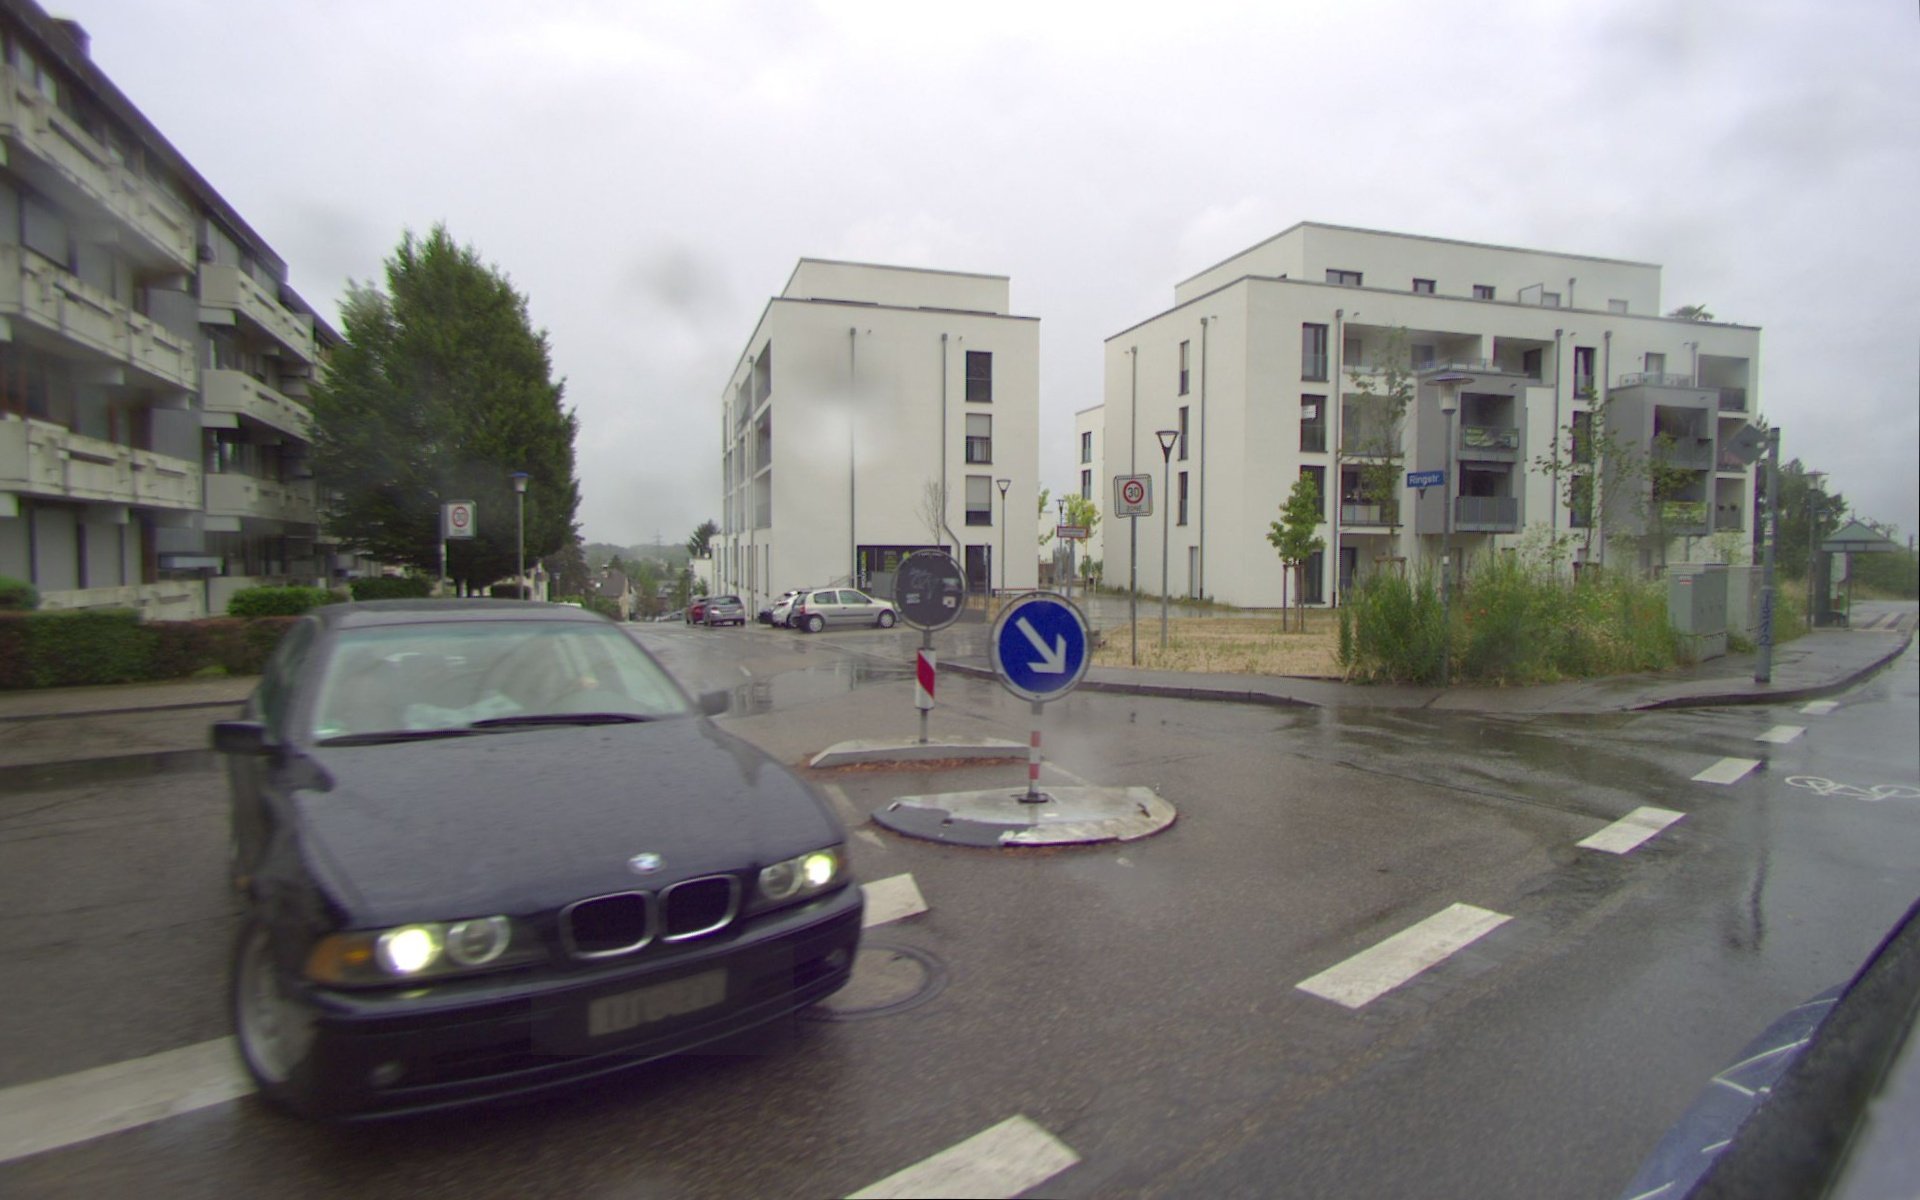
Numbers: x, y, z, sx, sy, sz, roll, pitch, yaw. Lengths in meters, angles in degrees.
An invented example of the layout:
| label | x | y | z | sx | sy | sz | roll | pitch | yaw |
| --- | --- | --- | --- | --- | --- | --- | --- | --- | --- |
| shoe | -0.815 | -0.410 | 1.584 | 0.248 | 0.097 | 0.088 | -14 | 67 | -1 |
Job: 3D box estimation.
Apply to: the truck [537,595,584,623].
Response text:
| label | x | y | z | sx | sy | sz | roll | pitch | yaw |
| --- | --- | --- | --- | --- | --- | --- | --- | --- | --- |
| truck | -44.999 | 0.964 | 113.992 | 4.737 | 3.070 | 2.004 | 1 | 1 | -16 |

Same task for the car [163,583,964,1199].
| label | x | y | z | sx | sy | sz | roll | pitch | yaw |
| --- | --- | --- | --- | --- | --- | --- | --- | --- | --- |
| car | -2.051 | 0.647 | 4.463 | 1.909 | 1.405 | 4.617 | -1 | 1 | -33 |

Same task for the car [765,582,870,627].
| label | x | y | z | sx | sy | sz | roll | pitch | yaw |
| --- | --- | --- | --- | --- | --- | --- | --- | --- | --- |
| car | -5.489 | 0.141 | 38.872 | 3.630 | 1.458 | 1.725 | -4 | 2 | -22 |

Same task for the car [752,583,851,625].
| label | x | y | z | sx | sy | sz | roll | pitch | yaw |
| --- | --- | --- | --- | --- | --- | --- | --- | --- | --- |
| car | -6.449 | 0.138 | 41.164 | 3.630 | 1.458 | 1.725 | -4 | 2 | -22 |

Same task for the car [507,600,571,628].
| label | x | y | z | sx | sy | sz | roll | pitch | yaw |
| --- | --- | --- | --- | --- | --- | --- | --- | --- | --- |
| car | -37.602 | 1.250 | 90.431 | 5.056 | 2.474 | 2.004 | 1 | 1 | -16 |

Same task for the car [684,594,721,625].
| label | x | y | z | sx | sy | sz | roll | pitch | yaw |
| --- | --- | --- | --- | --- | --- | --- | --- | --- | --- |
| car | -14.172 | 0.468 | 55.558 | 1.610 | 1.515 | 3.573 | -2 | 2 | -19 |

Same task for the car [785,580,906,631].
| label | x | y | z | sx | sy | sz | roll | pitch | yaw |
| --- | --- | --- | --- | --- | --- | --- | --- | --- | --- |
| car | -3.853 | 0.156 | 33.972 | 3.630 | 1.458 | 1.725 | -4 | 2 | -22 |

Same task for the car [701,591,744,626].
| label | x | y | z | sx | sy | sz | roll | pitch | yaw |
| --- | --- | --- | --- | --- | --- | --- | --- | --- | --- |
| car | -11.313 | 0.386 | 48.092 | 1.609 | 1.515 | 3.573 | 1 | 1 | -19 |

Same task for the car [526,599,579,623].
| label | x | y | z | sx | sy | sz | roll | pitch | yaw |
| --- | --- | --- | --- | --- | --- | --- | --- | --- | --- |
| car | -43.713 | 1.166 | 108.725 | 5.056 | 2.474 | 2.004 | 1 | 1 | -16 |
